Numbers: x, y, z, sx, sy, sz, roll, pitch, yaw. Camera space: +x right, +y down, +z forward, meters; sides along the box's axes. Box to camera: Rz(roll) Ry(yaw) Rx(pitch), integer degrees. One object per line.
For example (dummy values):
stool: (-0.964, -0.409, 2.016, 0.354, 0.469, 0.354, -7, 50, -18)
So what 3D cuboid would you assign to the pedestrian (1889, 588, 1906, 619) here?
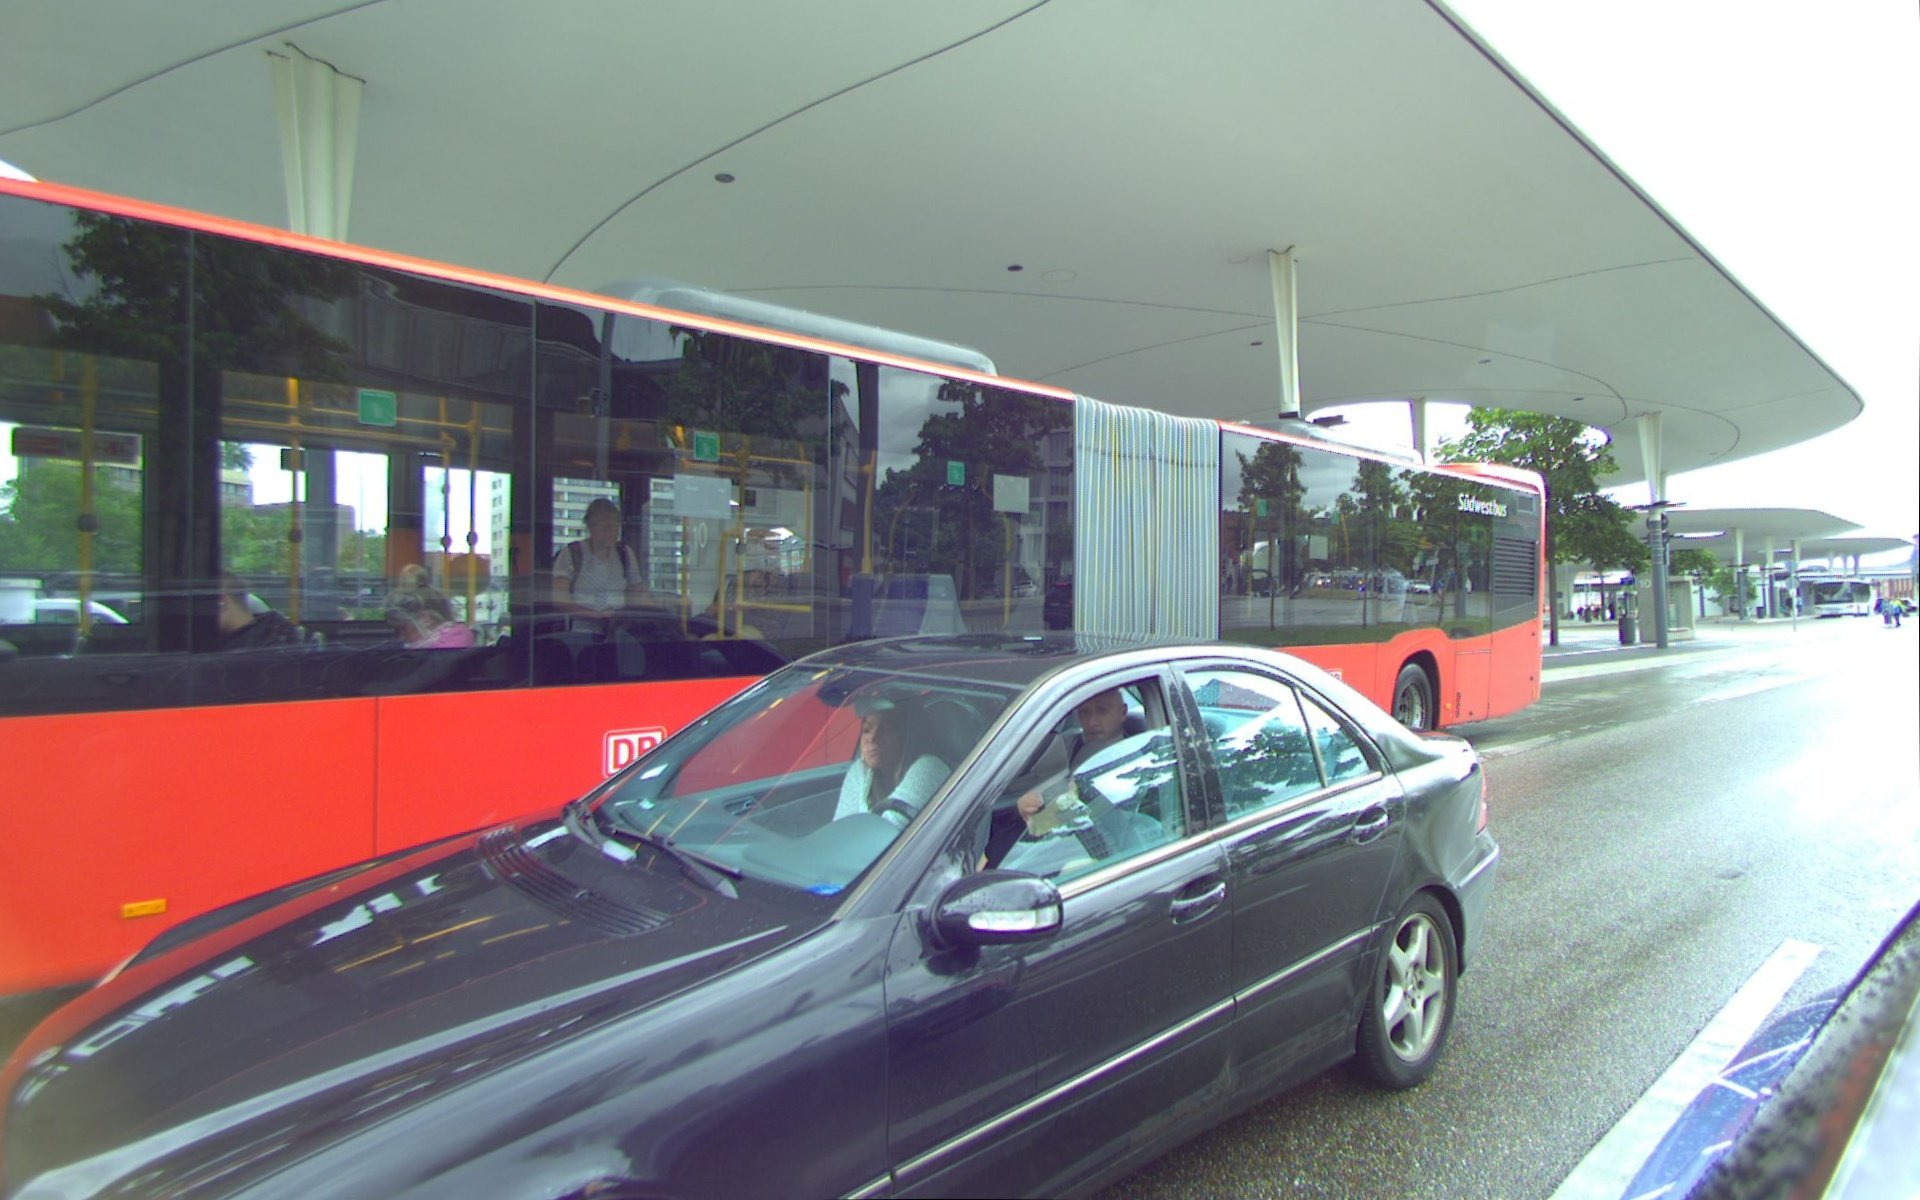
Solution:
pedestrian: (49.524, 0.201, 53.479, 0.577, 1.645, 0.576, 0, -1, -41)

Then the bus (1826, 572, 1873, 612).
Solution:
bus: (75.394, -0.666, 85.690, 2.666, 3.169, 9.565, -1, -1, 43)

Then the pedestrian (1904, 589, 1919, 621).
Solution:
pedestrian: (49.836, 0.244, 52.940, 0.543, 1.645, 0.556, 0, -1, -41)

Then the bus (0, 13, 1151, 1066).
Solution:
bus: (-3.403, -0.190, 4.494, 10.016, 3.214, 2.747, 0, 0, -41)

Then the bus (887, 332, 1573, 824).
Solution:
bus: (3.267, -0.157, 10.282, 7.978, 3.214, 2.747, 0, 0, -41)

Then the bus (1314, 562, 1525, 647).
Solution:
bus: (20.122, 0.183, 43.747, 12.131, 3.147, 3.001, 0, -4, -39)

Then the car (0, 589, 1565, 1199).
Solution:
car: (0.042, 0.789, 3.015, 4.359, 1.499, 1.747, -1, -2, -42)

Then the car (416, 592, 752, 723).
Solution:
car: (-5.499, 0.761, 15.125, 4.356, 1.670, 1.803, 0, -2, -41)

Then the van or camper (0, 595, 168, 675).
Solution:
van or camper: (-29.763, 1.109, 33.220, 5.868, 2.495, 2.106, 0, -1, -41)
